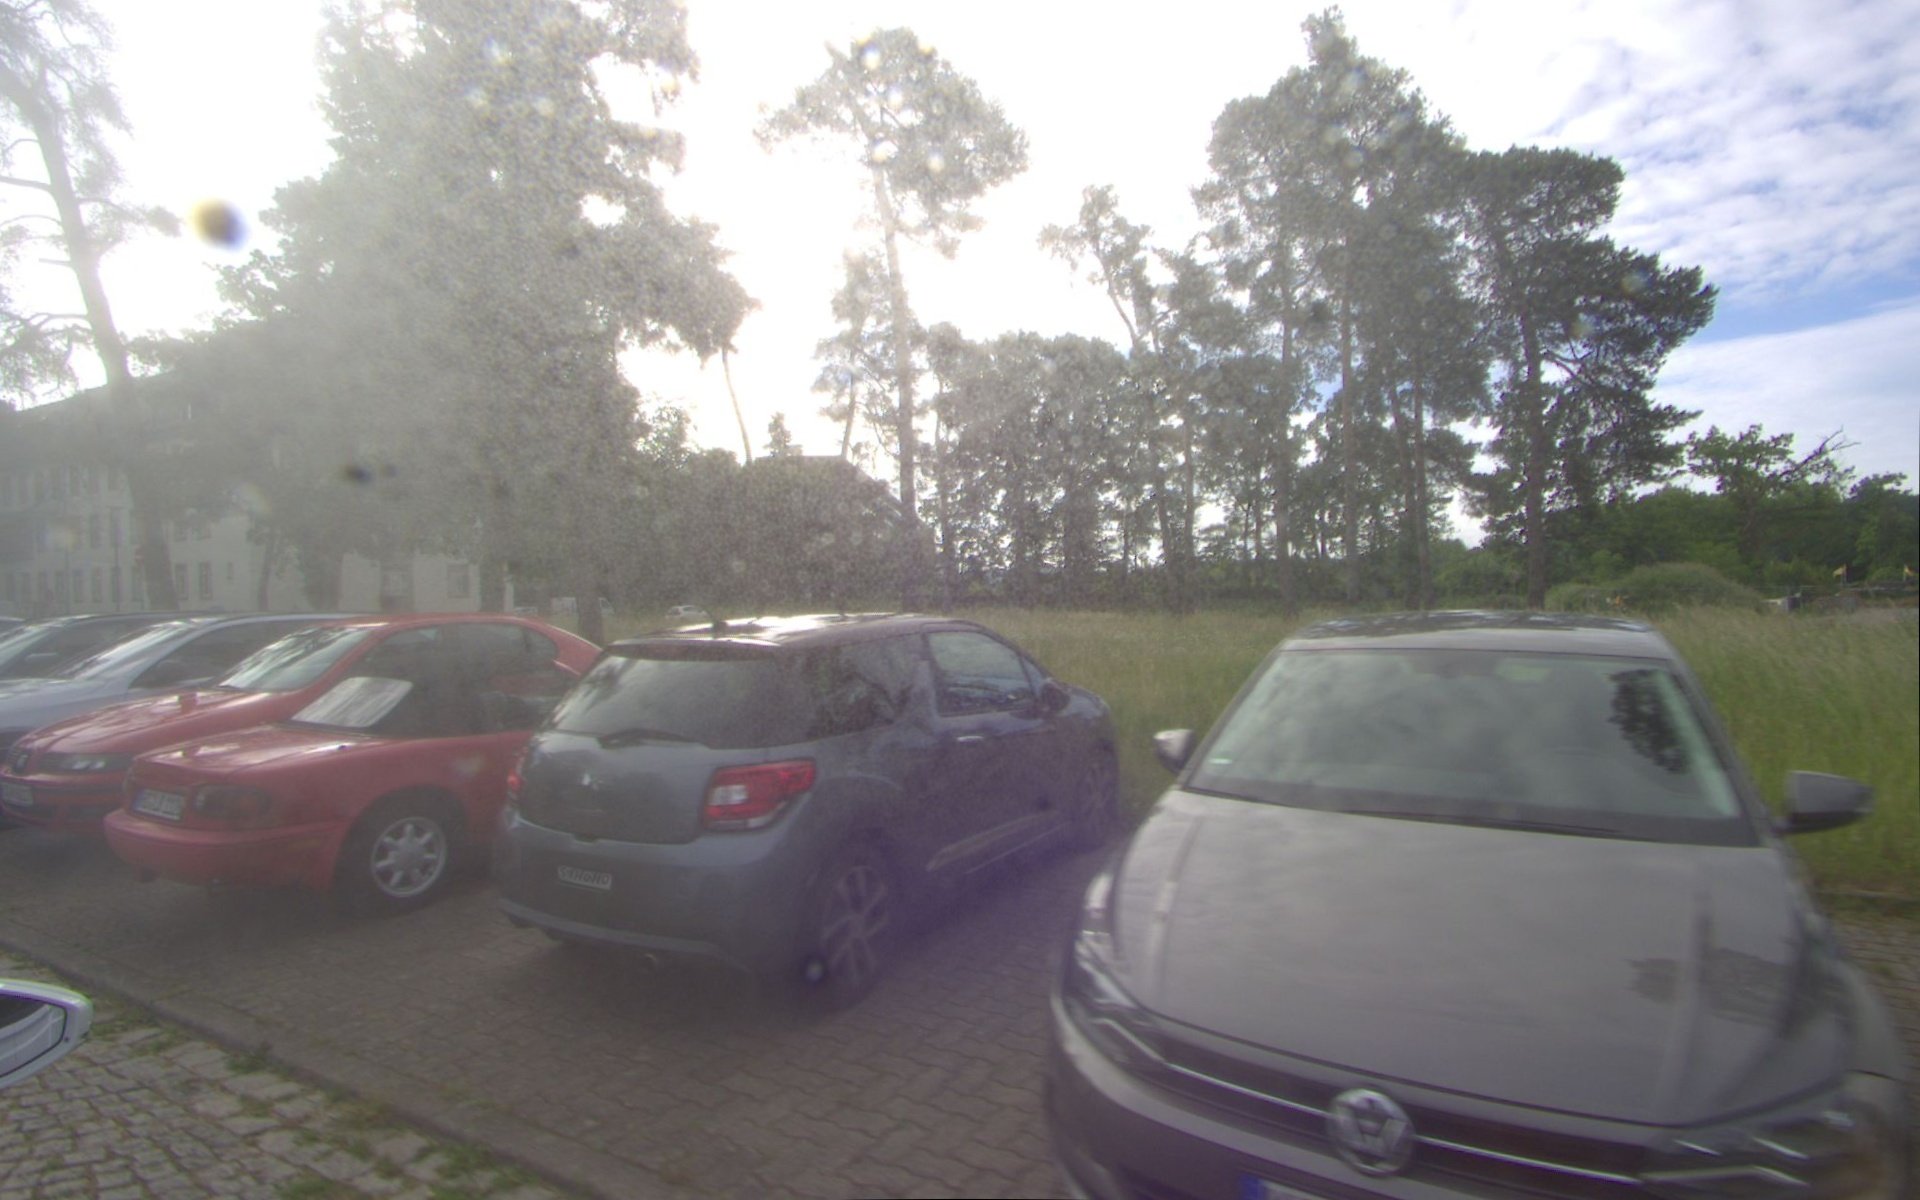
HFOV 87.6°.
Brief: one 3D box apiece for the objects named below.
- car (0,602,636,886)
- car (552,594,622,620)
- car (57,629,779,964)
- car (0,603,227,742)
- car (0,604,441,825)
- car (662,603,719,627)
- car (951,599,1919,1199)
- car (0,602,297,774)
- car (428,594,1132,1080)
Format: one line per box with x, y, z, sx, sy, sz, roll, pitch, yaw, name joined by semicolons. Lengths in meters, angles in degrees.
-4.668;0.808;7.748;1.658;1.496;4.100;0;1;28;car
-30.825;0.625;82.885;2.074;2.045;5.294;-1;-1;30;car
-2.921;0.885;6.153;1.604;1.239;3.580;0;1;31;car
-11.201;0.819;11.566;1.607;1.483;4.134;0;1;25;car
-6.881;0.811;8.561;1.725;1.456;4.186;0;1;23;car
-21.113;1.232;78.583;1.872;1.827;4.127;-1;-1;32;car
1.765;0.770;3.448;1.739;1.467;4.123;0;1;30;car
-9.227;0.819;9.949;1.679;1.499;4.233;0;1;19;car
-0.527;0.753;5.131;1.717;1.507;3.500;0;1;29;car
